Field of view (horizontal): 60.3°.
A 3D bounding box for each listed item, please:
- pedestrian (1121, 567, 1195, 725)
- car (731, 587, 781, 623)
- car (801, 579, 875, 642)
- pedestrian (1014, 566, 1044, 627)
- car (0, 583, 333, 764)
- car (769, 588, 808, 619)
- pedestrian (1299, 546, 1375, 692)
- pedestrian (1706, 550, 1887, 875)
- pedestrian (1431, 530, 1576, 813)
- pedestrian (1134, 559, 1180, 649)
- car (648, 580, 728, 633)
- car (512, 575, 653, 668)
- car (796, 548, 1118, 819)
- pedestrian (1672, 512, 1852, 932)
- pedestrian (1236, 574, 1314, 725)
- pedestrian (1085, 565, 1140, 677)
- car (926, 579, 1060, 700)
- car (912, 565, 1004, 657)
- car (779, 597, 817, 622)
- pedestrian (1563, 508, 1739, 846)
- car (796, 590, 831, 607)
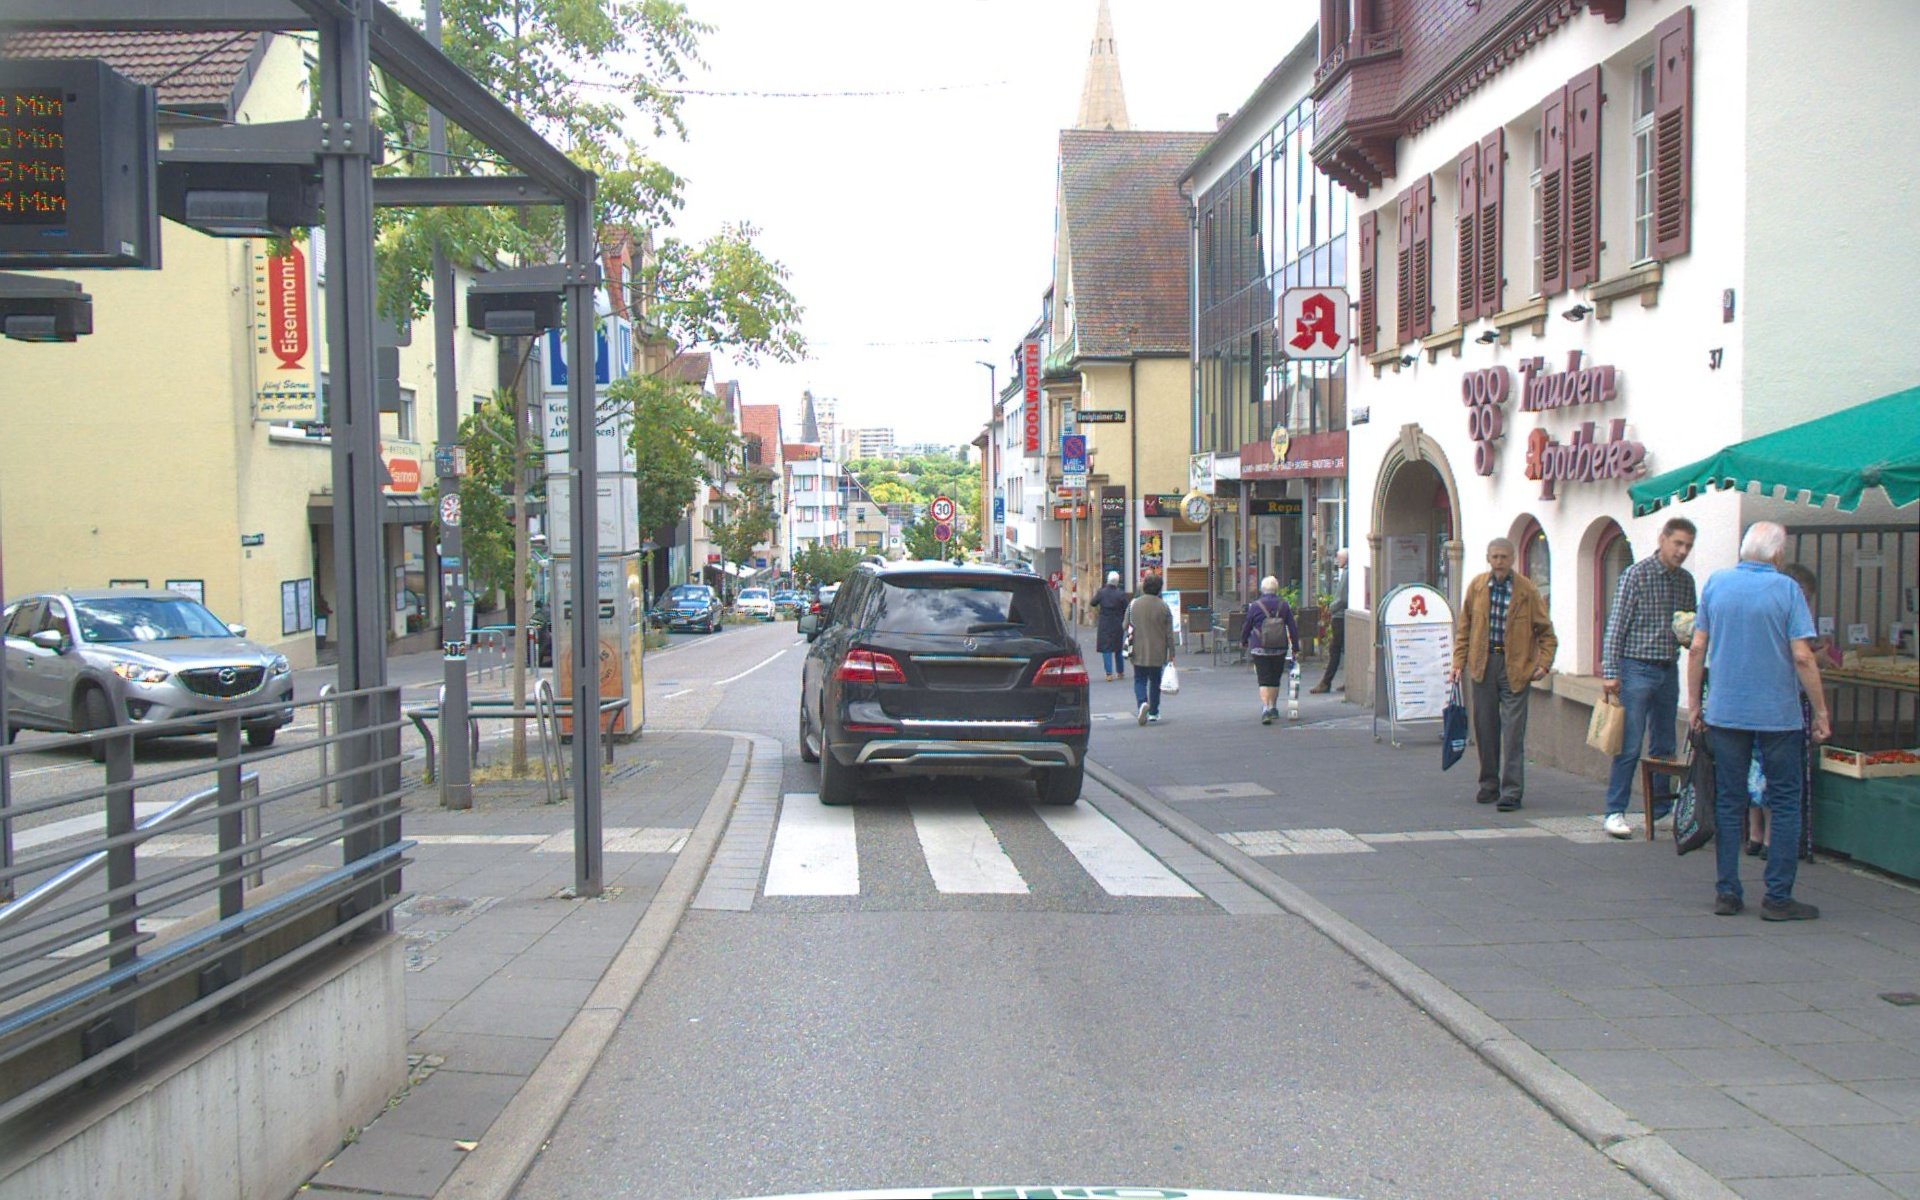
[{"bbox_3d":[2.156,0.487,18.097,0.756,1.674,0.870,-1,0,4],"label":"pedestrian"},{"bbox_3d":[-9.138,0.209,74.333,1.888,1.538,4.260,1,0,-3],"label":"car"},{"bbox_3d":[-3.165,0.243,43.535,1.749,1.567,3.743,-1,1,-2],"label":"car"},{"bbox_3d":[2.037,-0.104,49.086,0.780,1.757,1.052,-1,0,-2],"label":"pedestrian"},{"bbox_3d":[-8.607,0.699,17.285,4.272,1.649,1.960,-1,0,39],"label":"car"},{"bbox_3d":[-9.484,0.224,91.590,1.888,1.650,4.637,1,0,-3],"label":"car"},{"bbox_3d":[4.759,0.234,20.909,0.758,1.800,0.817,-1,0,0],"label":"pedestrian"},{"bbox_3d":[4.394,0.567,8.732,0.610,1.641,0.703,-1,0,4],"label":"pedestrian"},{"bbox_3d":[3.630,0.462,11.095,0.769,1.833,0.676,-1,0,4],"label":"pedestrian"},{"bbox_3d":[3.880,0.073,32.659,0.845,1.737,0.945,-1,0,4],"label":"pedestrian"},{"bbox_3d":[-8.445,0.168,51.700,1.888,1.518,4.840,2,0,-3],"label":"car"},{"bbox_3d":[-7.671,0.389,34.032,1.966,1.723,4.606,1,1,-2],"label":"car"},{"bbox_3d":[-0.208,0.533,13.044,1.908,1.770,4.170,1,1,-9],"label":"car"},{"bbox_3d":[3.611,0.520,7.491,0.686,1.797,0.625,-1,0,24],"label":"pedestrian"},{"bbox_3d":[3.323,0.510,17.508,0.709,1.558,0.808,-1,0,4],"label":"pedestrian"},{"bbox_3d":[2.343,0.316,25.423,0.806,1.695,0.802,-1,0,4],"label":"pedestrian"},{"bbox_3d":[0.405,0.512,24.197,1.767,1.582,3.953,-1,1,-1],"label":"car"},{"bbox_3d":[0.021,0.190,35.667,1.838,1.831,4.733,0,1,2],"label":"car"},{"bbox_3d":[-9.700,0.546,99.354,1.887,1.455,4.261,0,0,-1],"label":"car"},{"bbox_3d":[4.088,0.426,9.783,0.766,1.889,0.699,-1,0,41],"label":"pedestrian"},{"bbox_3d":[-16.628,-0.163,187.824,3.910,1.780,1.998,-3,0,-6],"label":"car"}]
